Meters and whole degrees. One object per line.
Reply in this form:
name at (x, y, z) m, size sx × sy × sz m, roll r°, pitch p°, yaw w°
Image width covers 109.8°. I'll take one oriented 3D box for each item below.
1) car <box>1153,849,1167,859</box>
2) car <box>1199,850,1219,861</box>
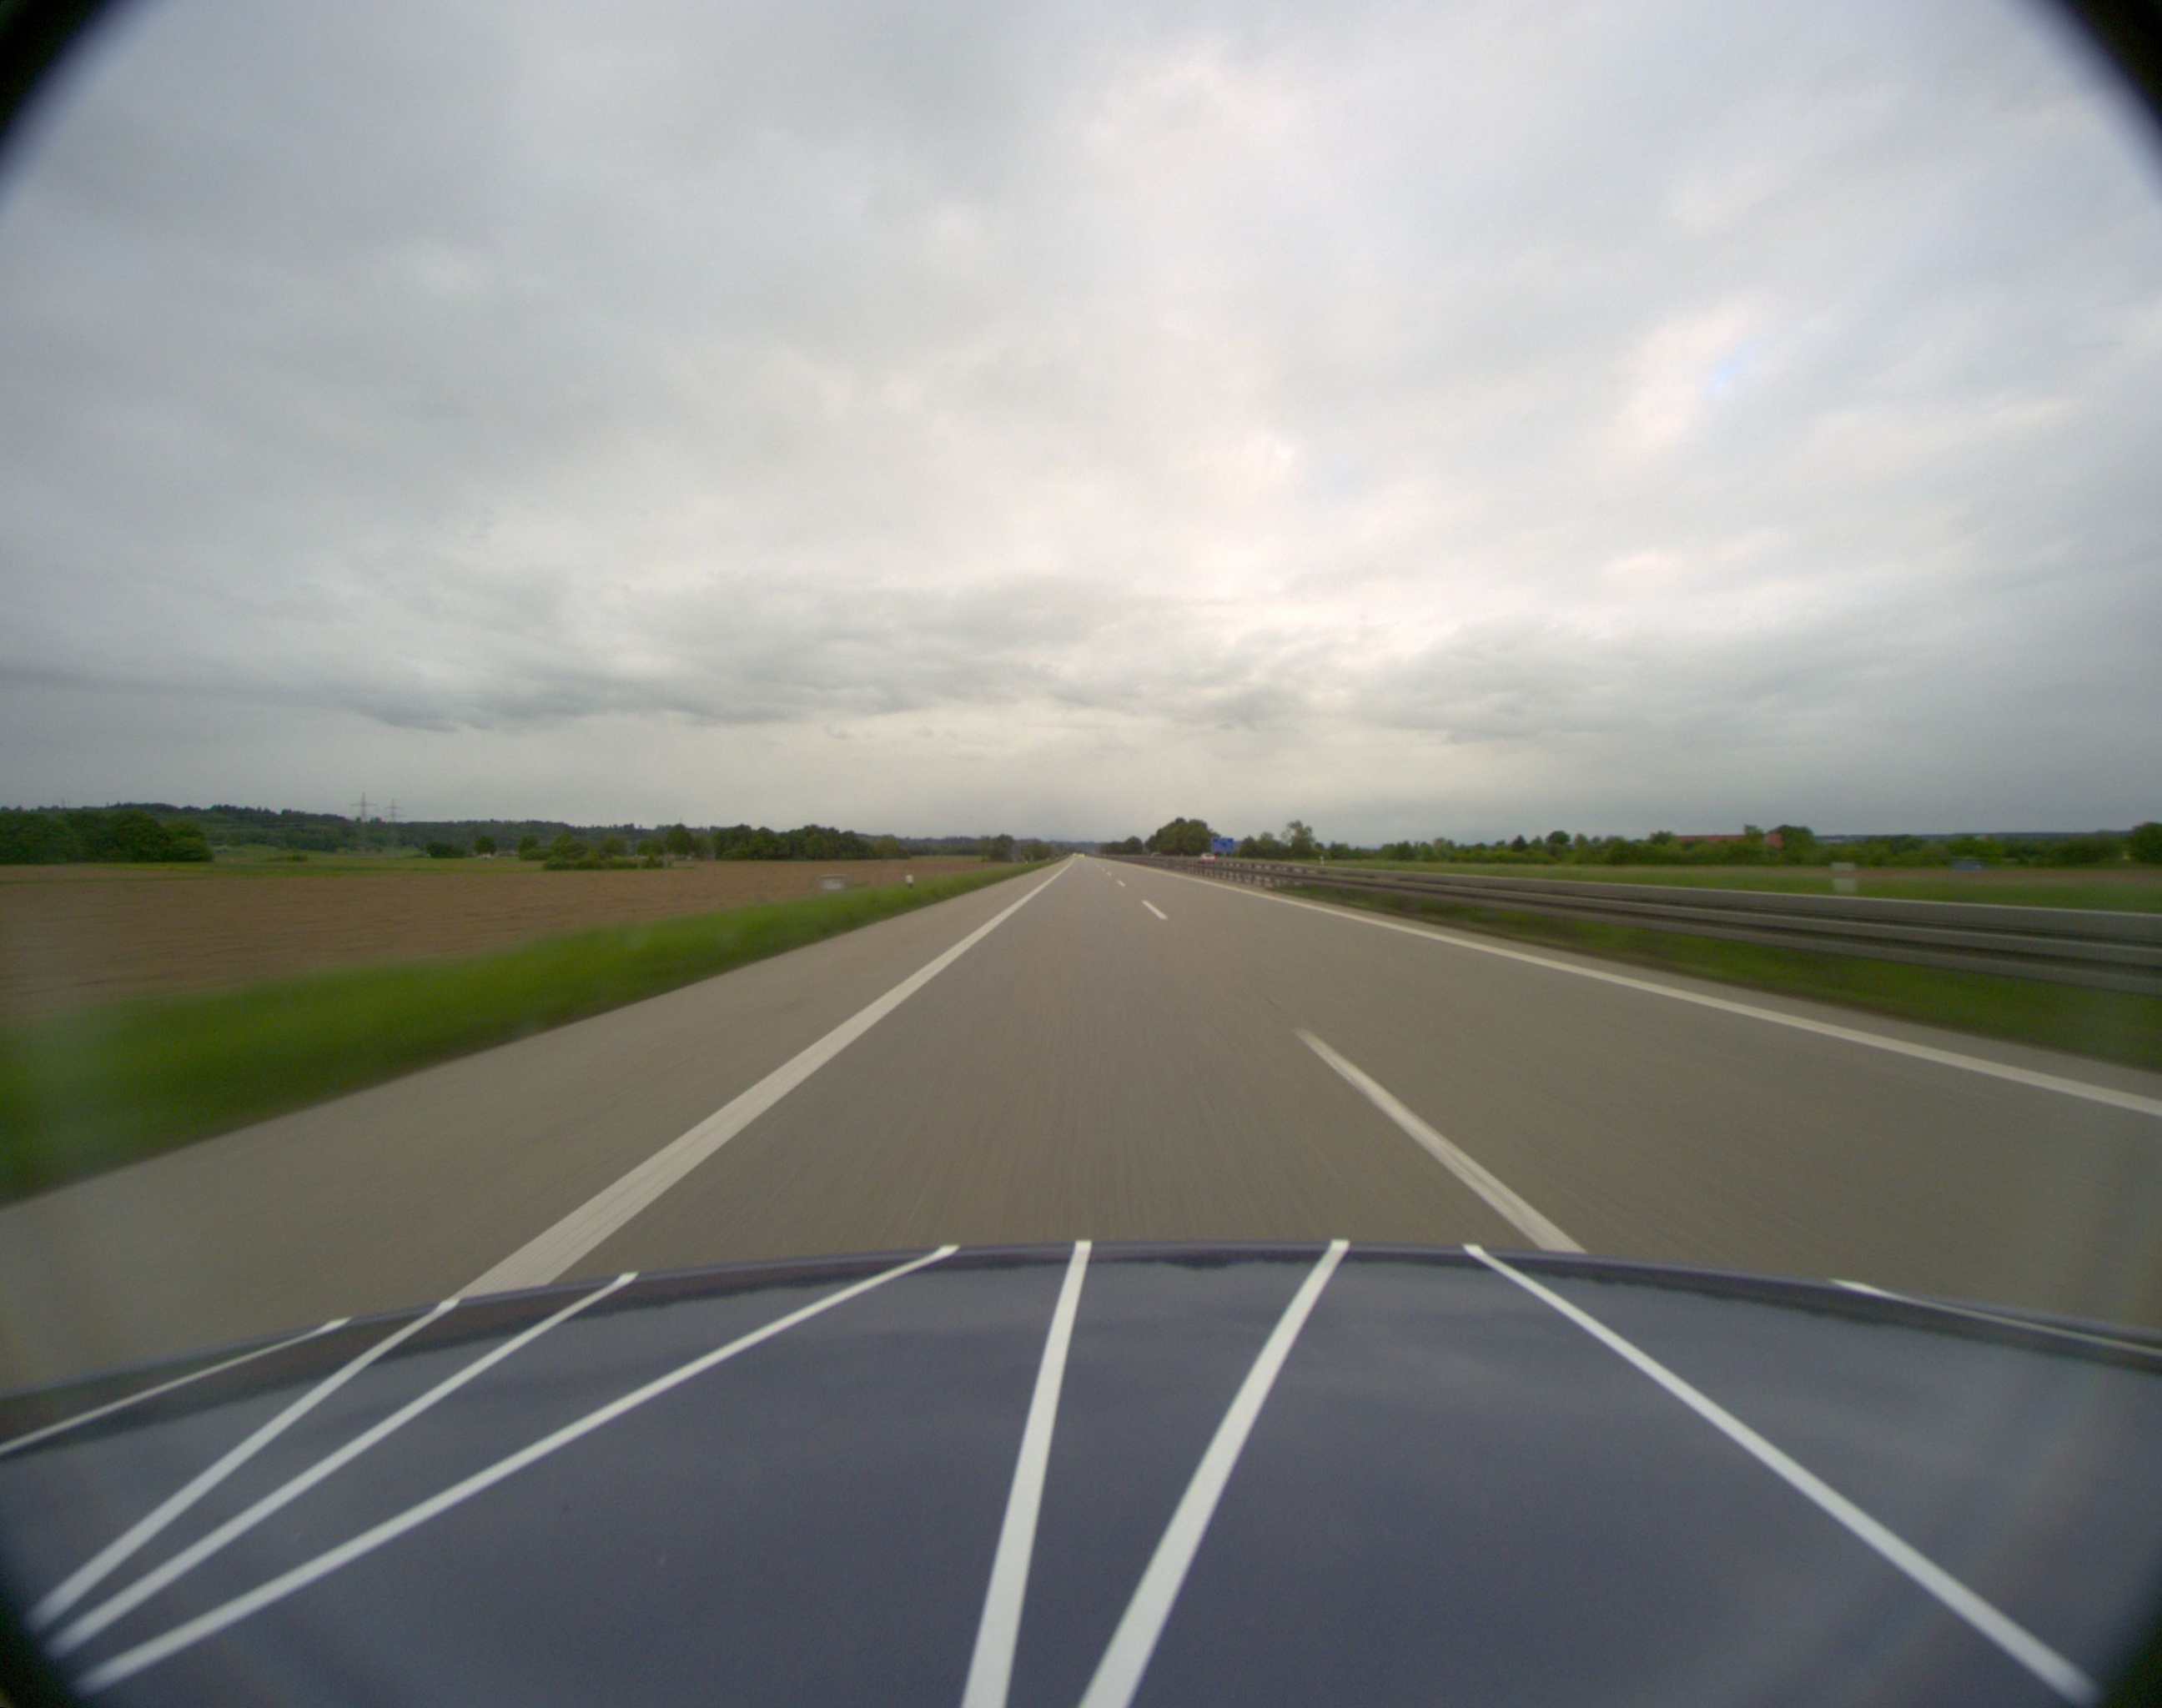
car at (14.084, -0.013, 135.409) m, size 1.998 × 1.691 × 4.301 m, roll -2°, pitch 1°, yaw 0°
car at (18.226, 0.152, 108.625) m, size 1.999 × 1.487 × 4.762 m, roll -1°, pitch 0°, yaw -1°
